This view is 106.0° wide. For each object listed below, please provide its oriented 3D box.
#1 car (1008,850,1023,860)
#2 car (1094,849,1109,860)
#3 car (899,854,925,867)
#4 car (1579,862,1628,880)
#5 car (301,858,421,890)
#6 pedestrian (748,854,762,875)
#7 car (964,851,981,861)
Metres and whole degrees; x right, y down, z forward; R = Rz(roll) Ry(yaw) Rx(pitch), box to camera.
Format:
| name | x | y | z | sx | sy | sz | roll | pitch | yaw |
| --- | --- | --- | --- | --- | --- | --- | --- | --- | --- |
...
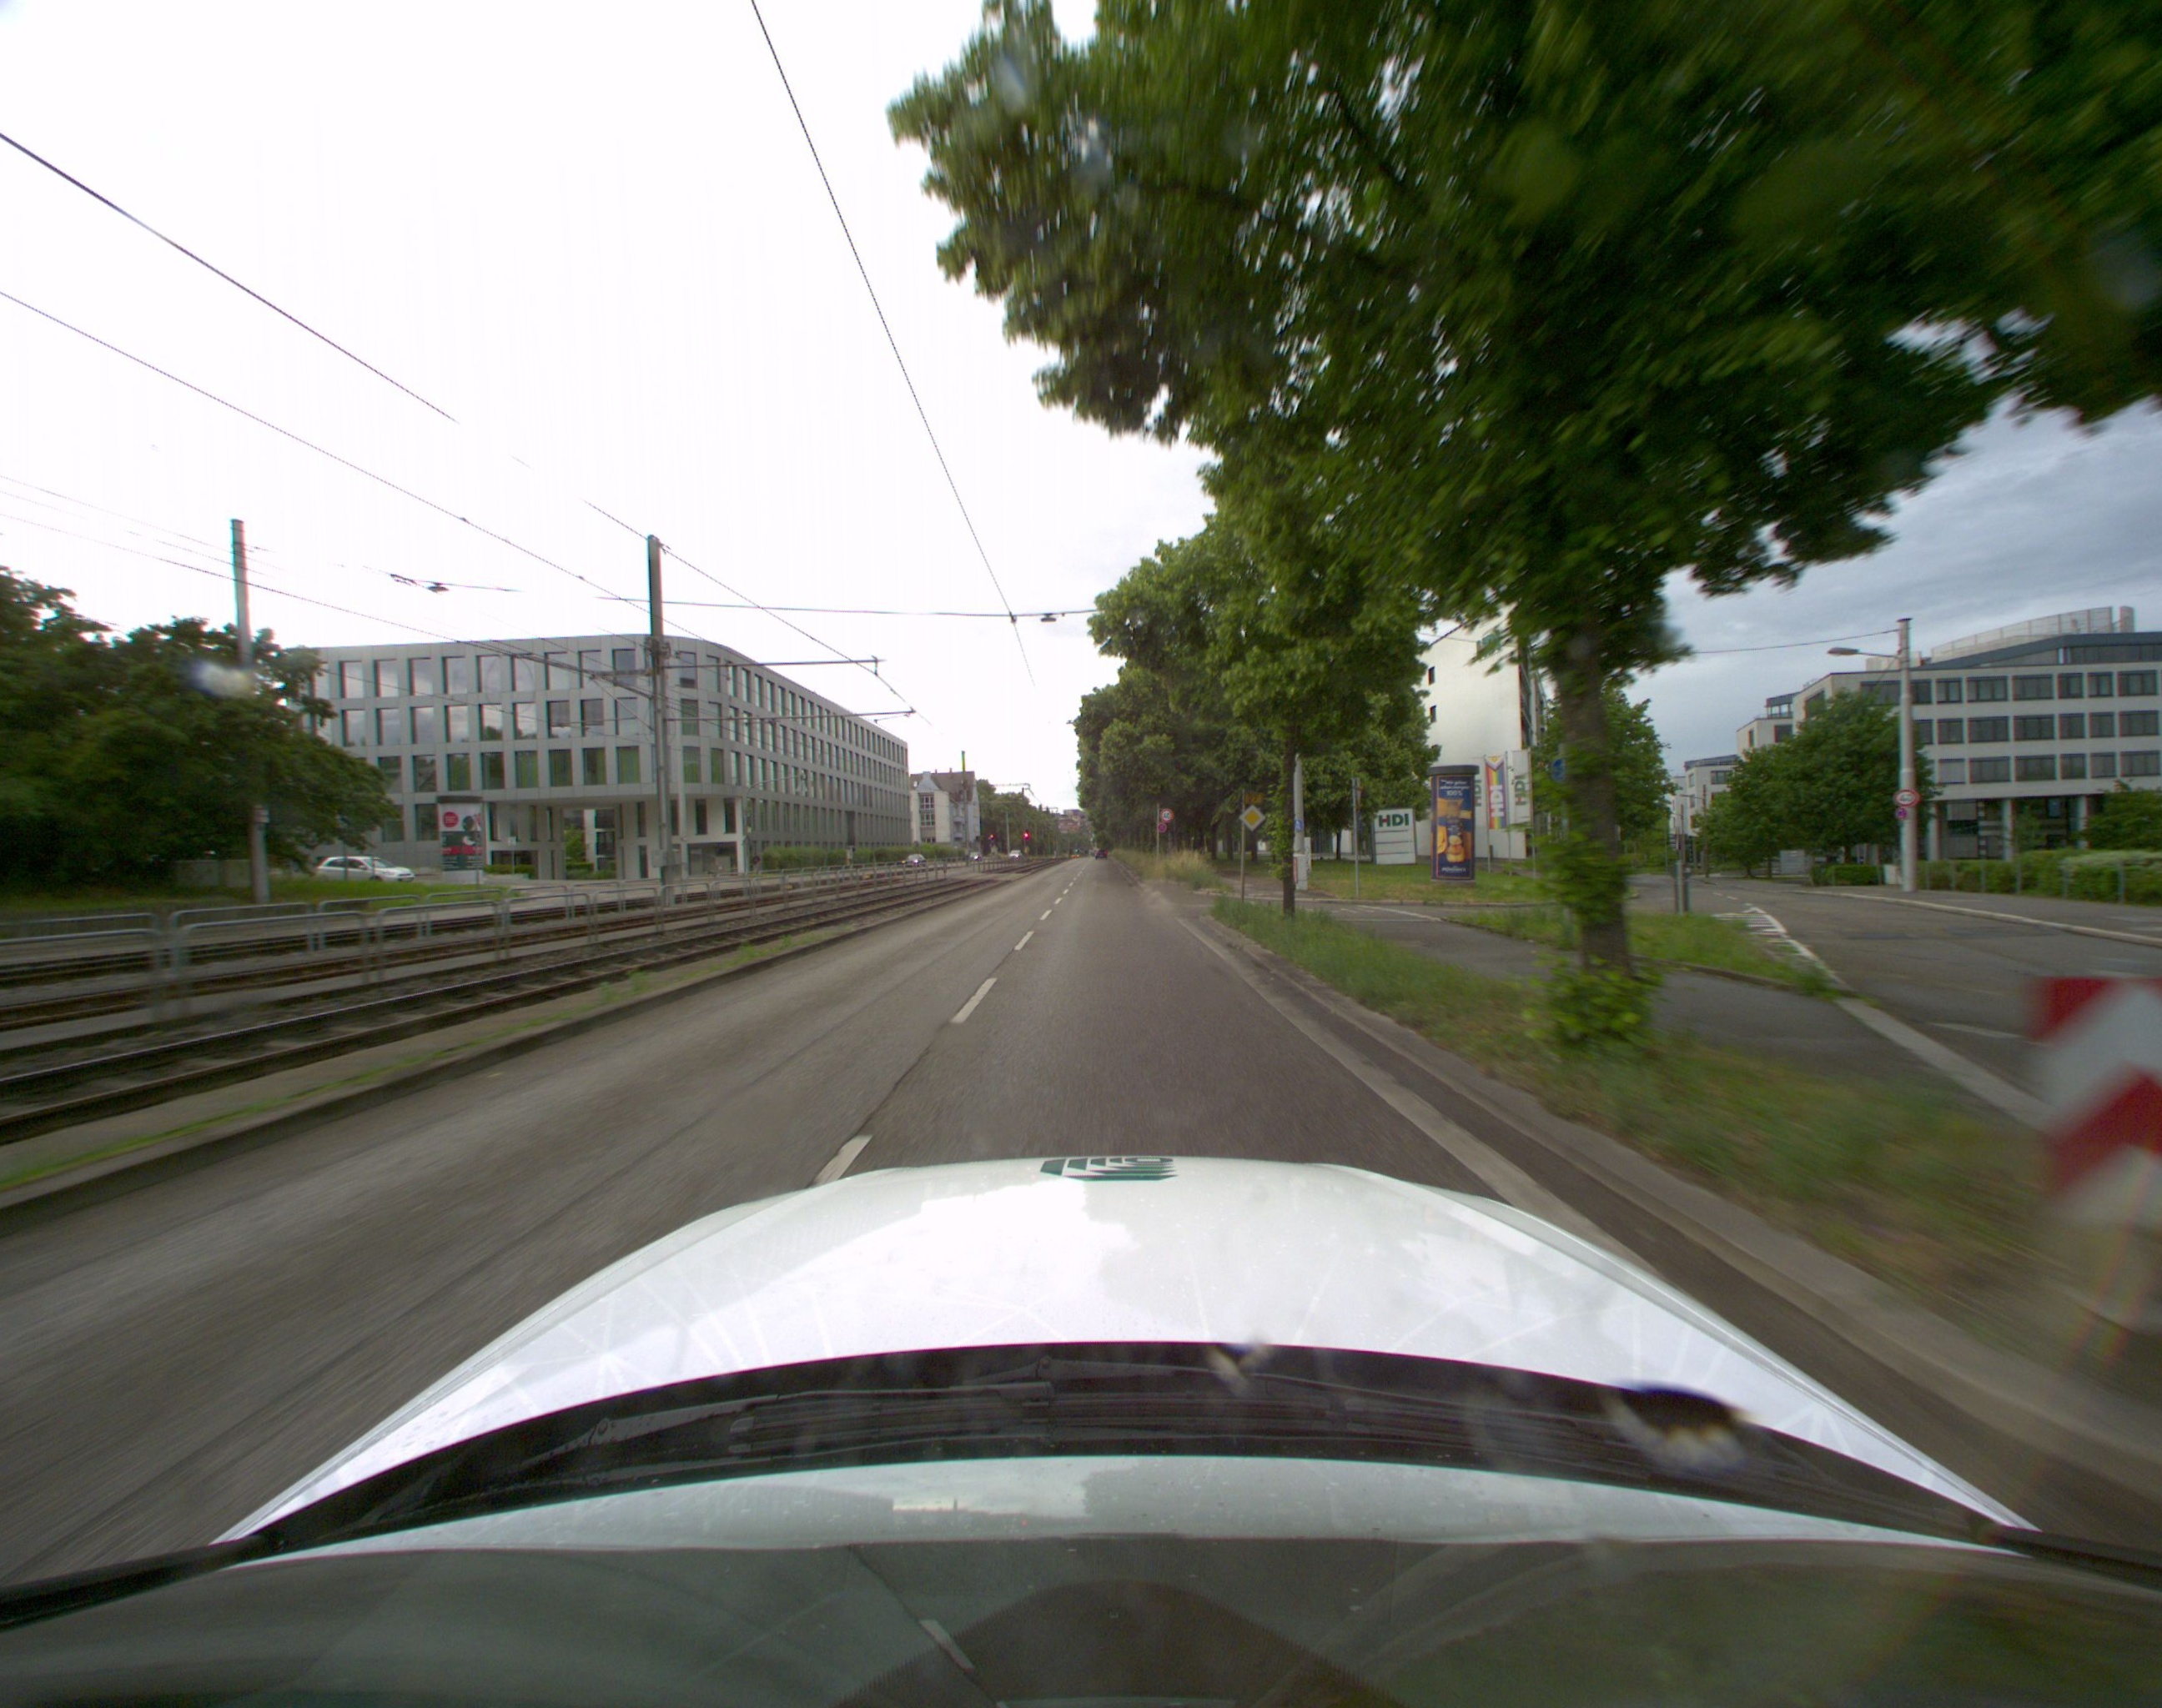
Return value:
| name | x | y | z | sx | sy | sz | roll | pitch | yaw |
| --- | --- | --- | --- | --- | --- | --- | --- | --- | --- |
| car | -11.494 | 0.203 | 142.789 | 1.895 | 1.644 | 4.888 | -2 | 0 | 3 |
| car | 2.960 | 0.098 | 116.115 | 1.975 | 1.440 | 4.475 | -2 | 0 | 2 |
| car | -17.943 | 0.693 | 86.525 | 1.750 | 1.244 | 3.989 | -2 | 0 | 2 |
| car | 54.219 | 1.796 | 84.618 | 3.951 | 1.717 | 2.011 | -1 | 0 | 23 |
| car | -34.321 | 0.942 | 38.903 | 3.908 | 1.453 | 1.925 | 1 | 0 | -1 |
| pedestrian | -25.512 | 0.823 | 63.807 | 0.721 | 1.648 | 0.846 | -1 | 0 | 2 |
| car | -16.086 | 0.335 | 120.842 | 1.791 | 1.347 | 4.261 | -2 | 0 | 2 |
